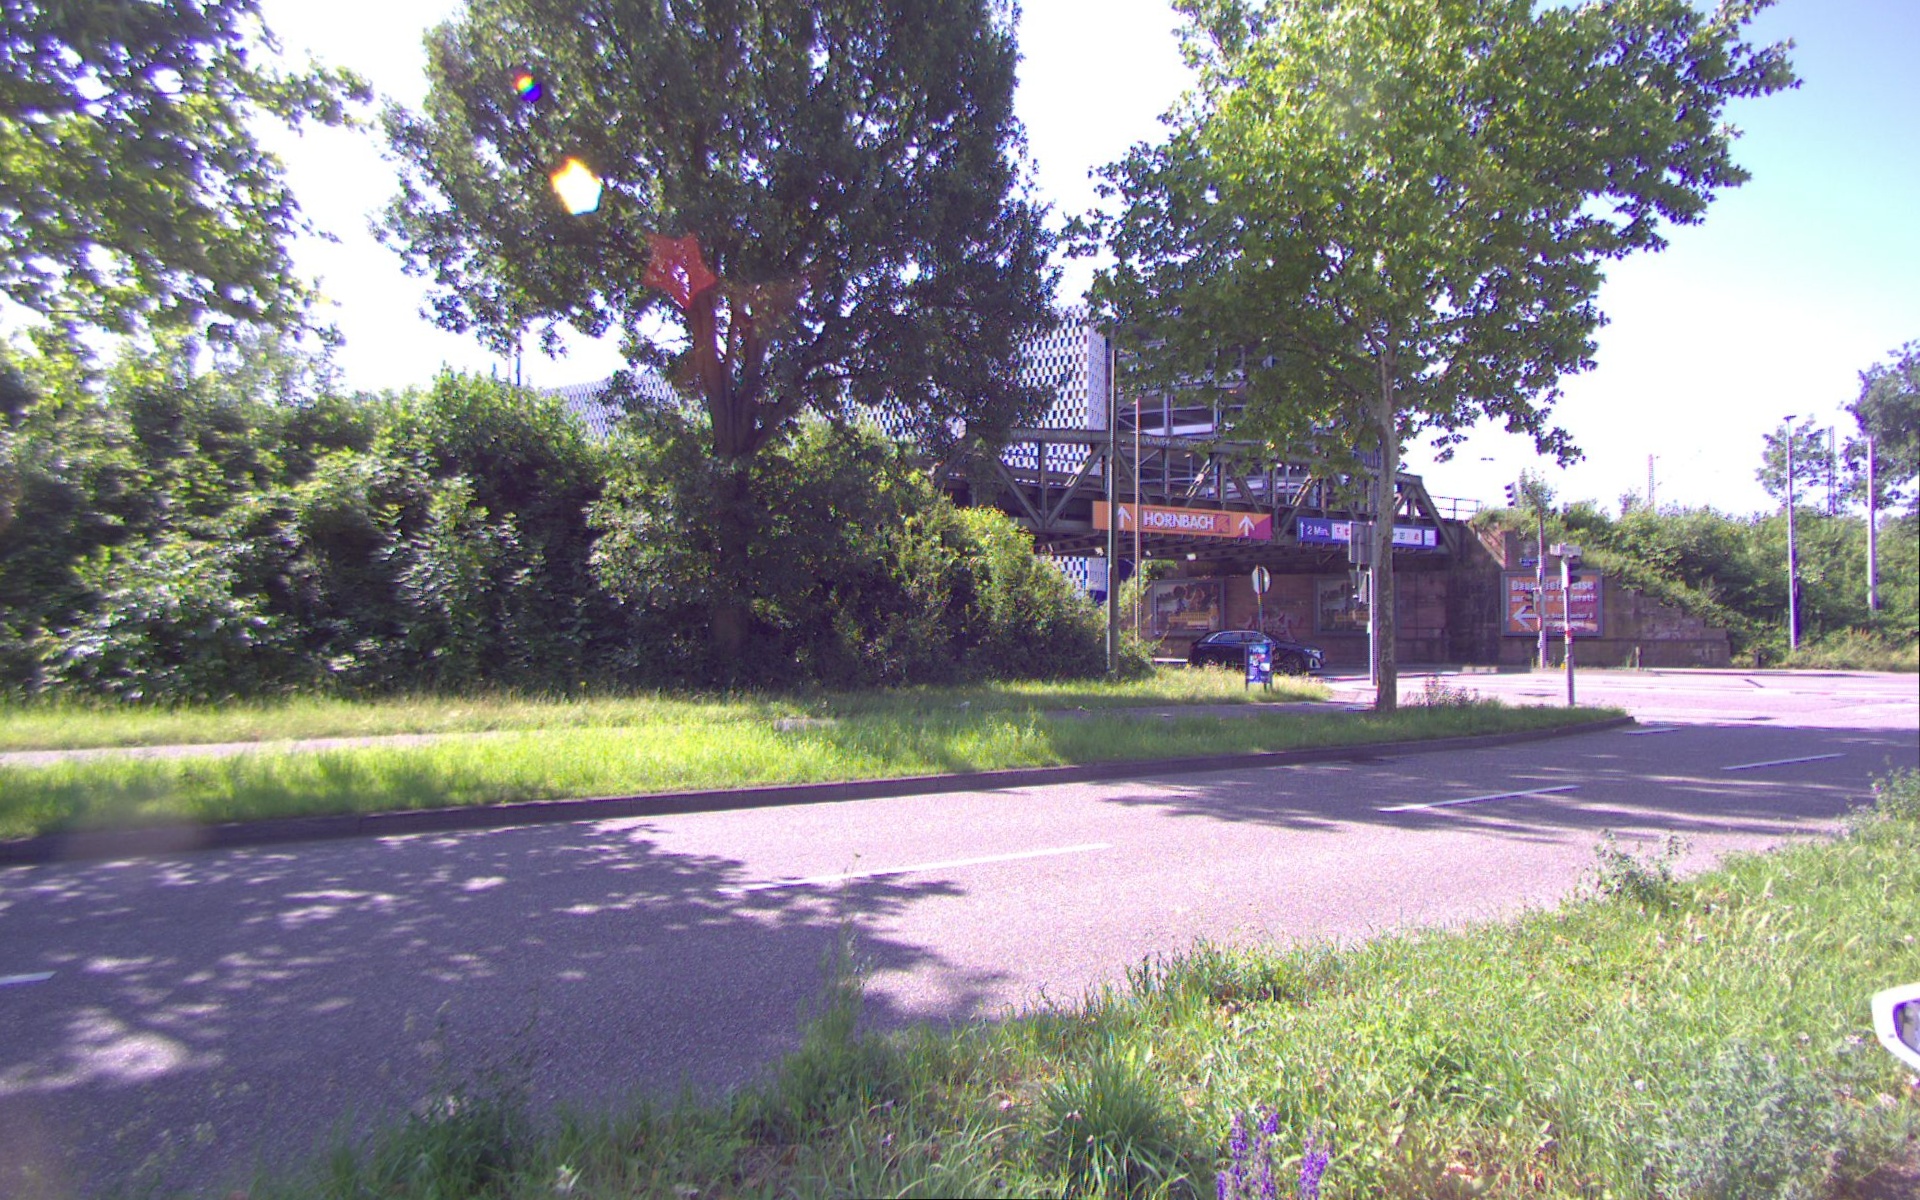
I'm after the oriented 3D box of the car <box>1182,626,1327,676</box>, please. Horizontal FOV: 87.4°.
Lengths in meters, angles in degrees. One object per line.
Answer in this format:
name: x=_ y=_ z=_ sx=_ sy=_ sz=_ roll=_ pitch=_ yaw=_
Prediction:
car: x=10.853 y=1.825 z=37.047 sx=4.957 sy=1.617 sz=1.526 roll=1 pitch=-1 yaw=24
